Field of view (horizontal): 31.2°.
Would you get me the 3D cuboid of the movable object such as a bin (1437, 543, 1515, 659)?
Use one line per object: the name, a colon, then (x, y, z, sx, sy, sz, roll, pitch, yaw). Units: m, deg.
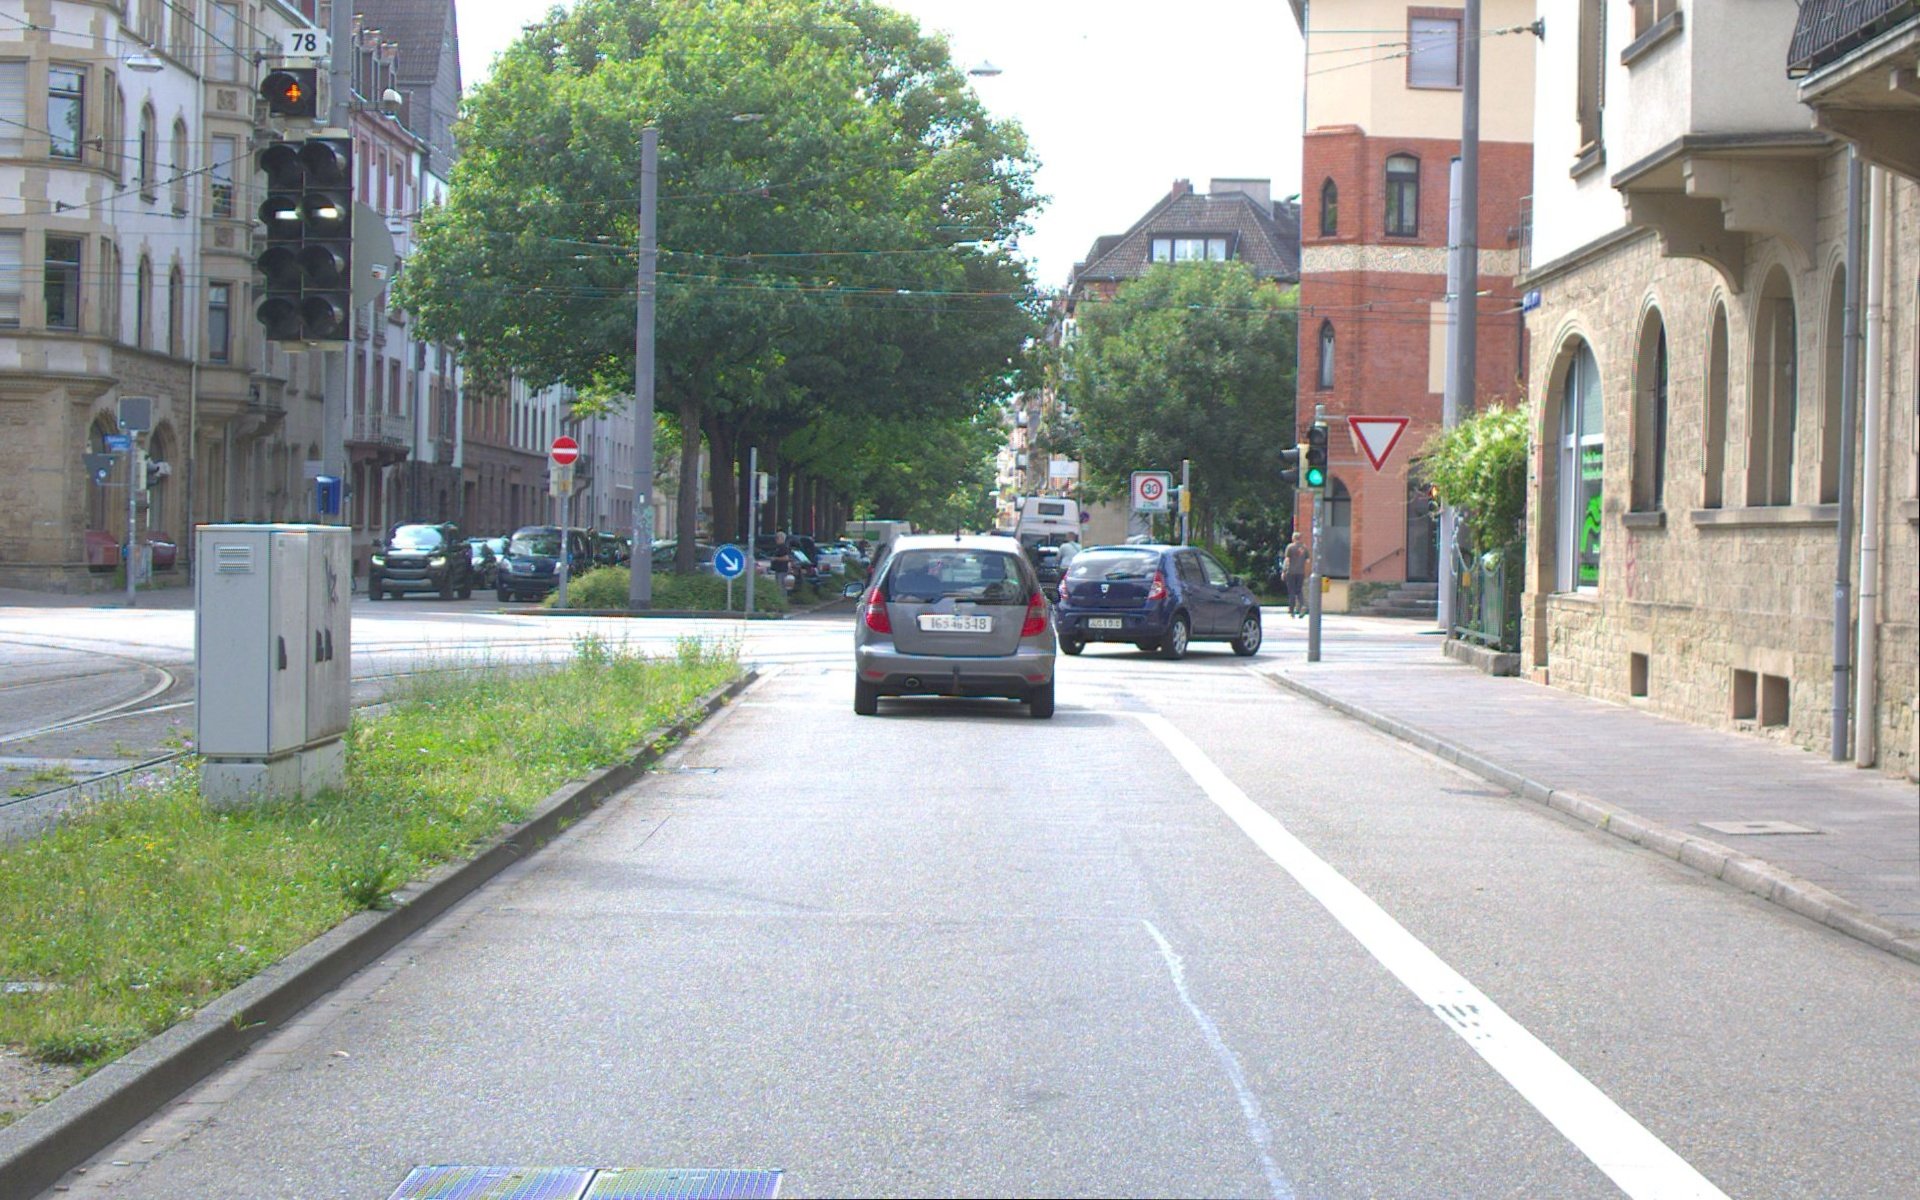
movable object such as a bin: (6.603, 0.006, 44.038, 0.714, 1.467, 0.983, 0, 1, -8)

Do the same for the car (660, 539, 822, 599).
car: (-5.357, -0.762, 83.646, 1.969, 1.334, 3.999, 1, 1, -39)

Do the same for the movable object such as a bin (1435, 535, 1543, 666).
movable object such as a bin: (6.397, -0.010, 41.719, 1.050, 1.534, 2.100, 1, 1, 2)

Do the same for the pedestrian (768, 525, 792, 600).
pedestrian: (-4.121, -0.862, 78.710, 0.493, 1.719, 0.654, 1, 1, -2)

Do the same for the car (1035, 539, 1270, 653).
car: (2.684, -0.082, 47.027, 1.982, 1.437, 3.995, 2, 1, 22)

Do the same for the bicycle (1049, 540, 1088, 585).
bicycle: (2.343, -0.811, 73.901, 0.749, 0.955, 2.298, 1, 1, 4)

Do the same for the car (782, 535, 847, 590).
car: (-4.443, -1.171, 105.473, 1.752, 1.627, 3.499, 1, 1, 1)

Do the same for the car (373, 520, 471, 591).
car: (-12.617, -1.050, 80.763, 1.993, 1.612, 4.001, 1, 1, -5)

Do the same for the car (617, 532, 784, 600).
car: (-6.140, -0.803, 81.038, 1.969, 1.489, 3.999, 1, 1, -39)

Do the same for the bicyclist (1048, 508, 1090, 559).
bicyclist: (2.350, -1.421, 73.765, 0.836, 1.078, 1.400, 1, 1, 4)

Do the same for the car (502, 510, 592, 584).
car: (-9.868, -1.275, 82.425, 1.993, 1.722, 4.001, 1, 1, -5)

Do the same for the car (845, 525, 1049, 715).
car: (-0.076, 0.142, 31.157, 1.722, 1.600, 3.677, 1, 1, 1)

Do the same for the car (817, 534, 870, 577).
car: (-4.270, -1.656, 126.084, 1.752, 1.512, 3.499, 1, 1, 1)

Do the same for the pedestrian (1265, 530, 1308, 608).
pedestrian: (7.036, -0.665, 74.147, 0.869, 1.651, 0.736, 1, 1, 5)

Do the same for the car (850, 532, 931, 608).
car: (-1.595, -0.717, 79.620, 1.722, 1.700, 3.677, 1, 1, 1)

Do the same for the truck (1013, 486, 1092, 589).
truck: (2.760, -1.834, 101.693, 2.123, 2.960, 4.000, 1, 1, 4)
